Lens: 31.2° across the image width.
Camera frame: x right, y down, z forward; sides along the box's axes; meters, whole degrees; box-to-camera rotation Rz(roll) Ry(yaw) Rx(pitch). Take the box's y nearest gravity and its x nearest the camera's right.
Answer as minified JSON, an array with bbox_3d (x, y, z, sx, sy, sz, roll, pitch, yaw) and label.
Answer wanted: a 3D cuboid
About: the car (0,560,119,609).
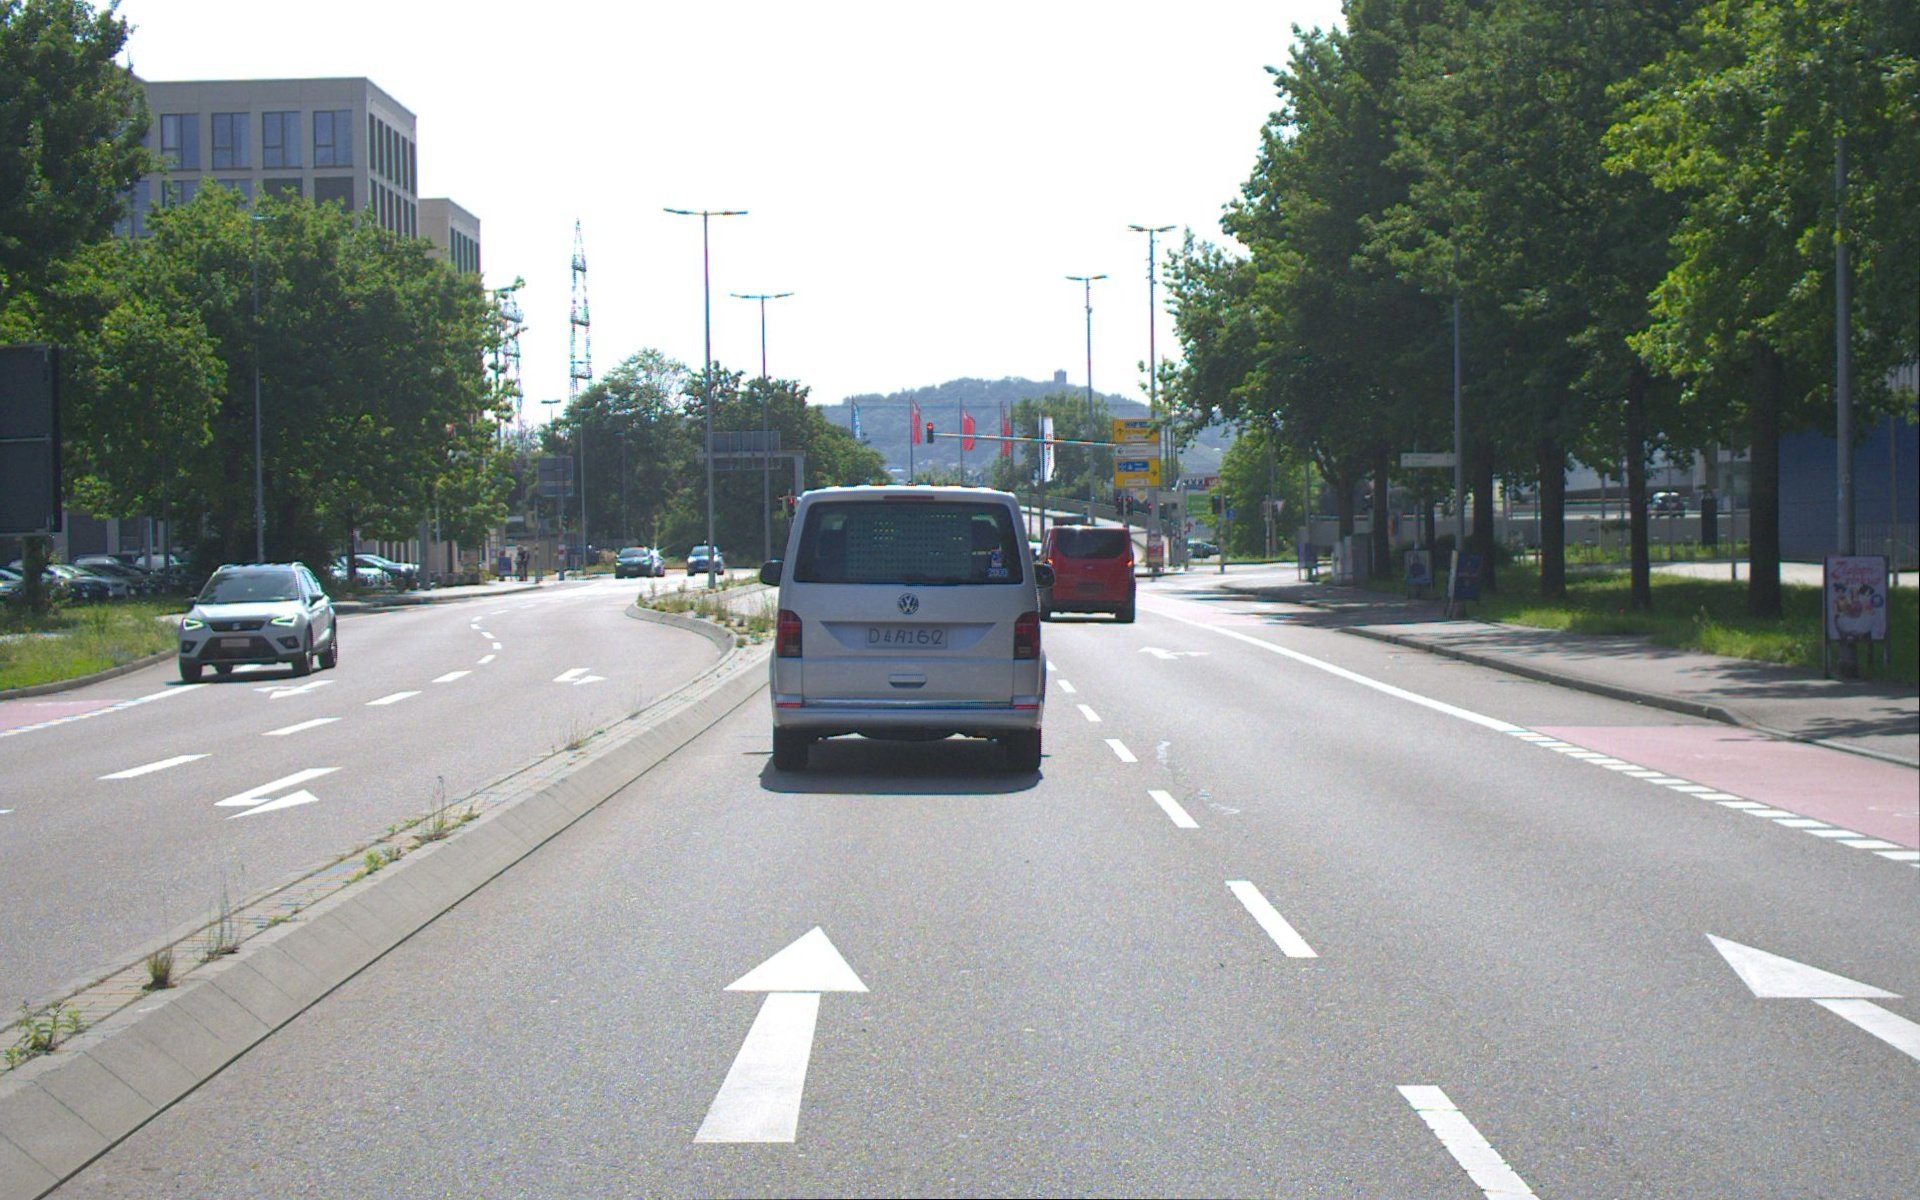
[{"bbox_3d":[-23.941,-0.360,88.606,4.107,1.030,1.697,-4,1,-2],"label":"car"}]

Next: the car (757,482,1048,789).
[{"bbox_3d":[-0.393,0.194,24.452,1.884,1.983,4.000,1,1,0],"label":"car"}]

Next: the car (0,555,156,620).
[{"bbox_3d":[-23.893,-0.346,92.454,3.987,1.437,2.000,-4,1,0],"label":"car"}]

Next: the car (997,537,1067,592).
[{"bbox_3d":[1.953,-0.997,94.219,1.746,1.453,4.476,1,1,-1],"label":"car"}]

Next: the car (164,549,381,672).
[{"bbox_3d":[-9.790,0.114,49.273,1.994,1.612,4.104,-2,1,4],"label":"car"}]

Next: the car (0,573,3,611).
[{"bbox_3d":[-24.414,-0.177,79.145,4.173,1.186,1.955,-4,1,-2],"label":"car"}]

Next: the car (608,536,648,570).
[{"bbox_3d":[-16.906,-2.404,175.002,1.738,1.613,4.210,-4,1,-3],"label":"car"}]

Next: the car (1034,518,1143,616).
[{"bbox_3d":[2.651,-0.713,72.074,1.967,1.961,5.126,1,1,-1],"label":"car"}]
